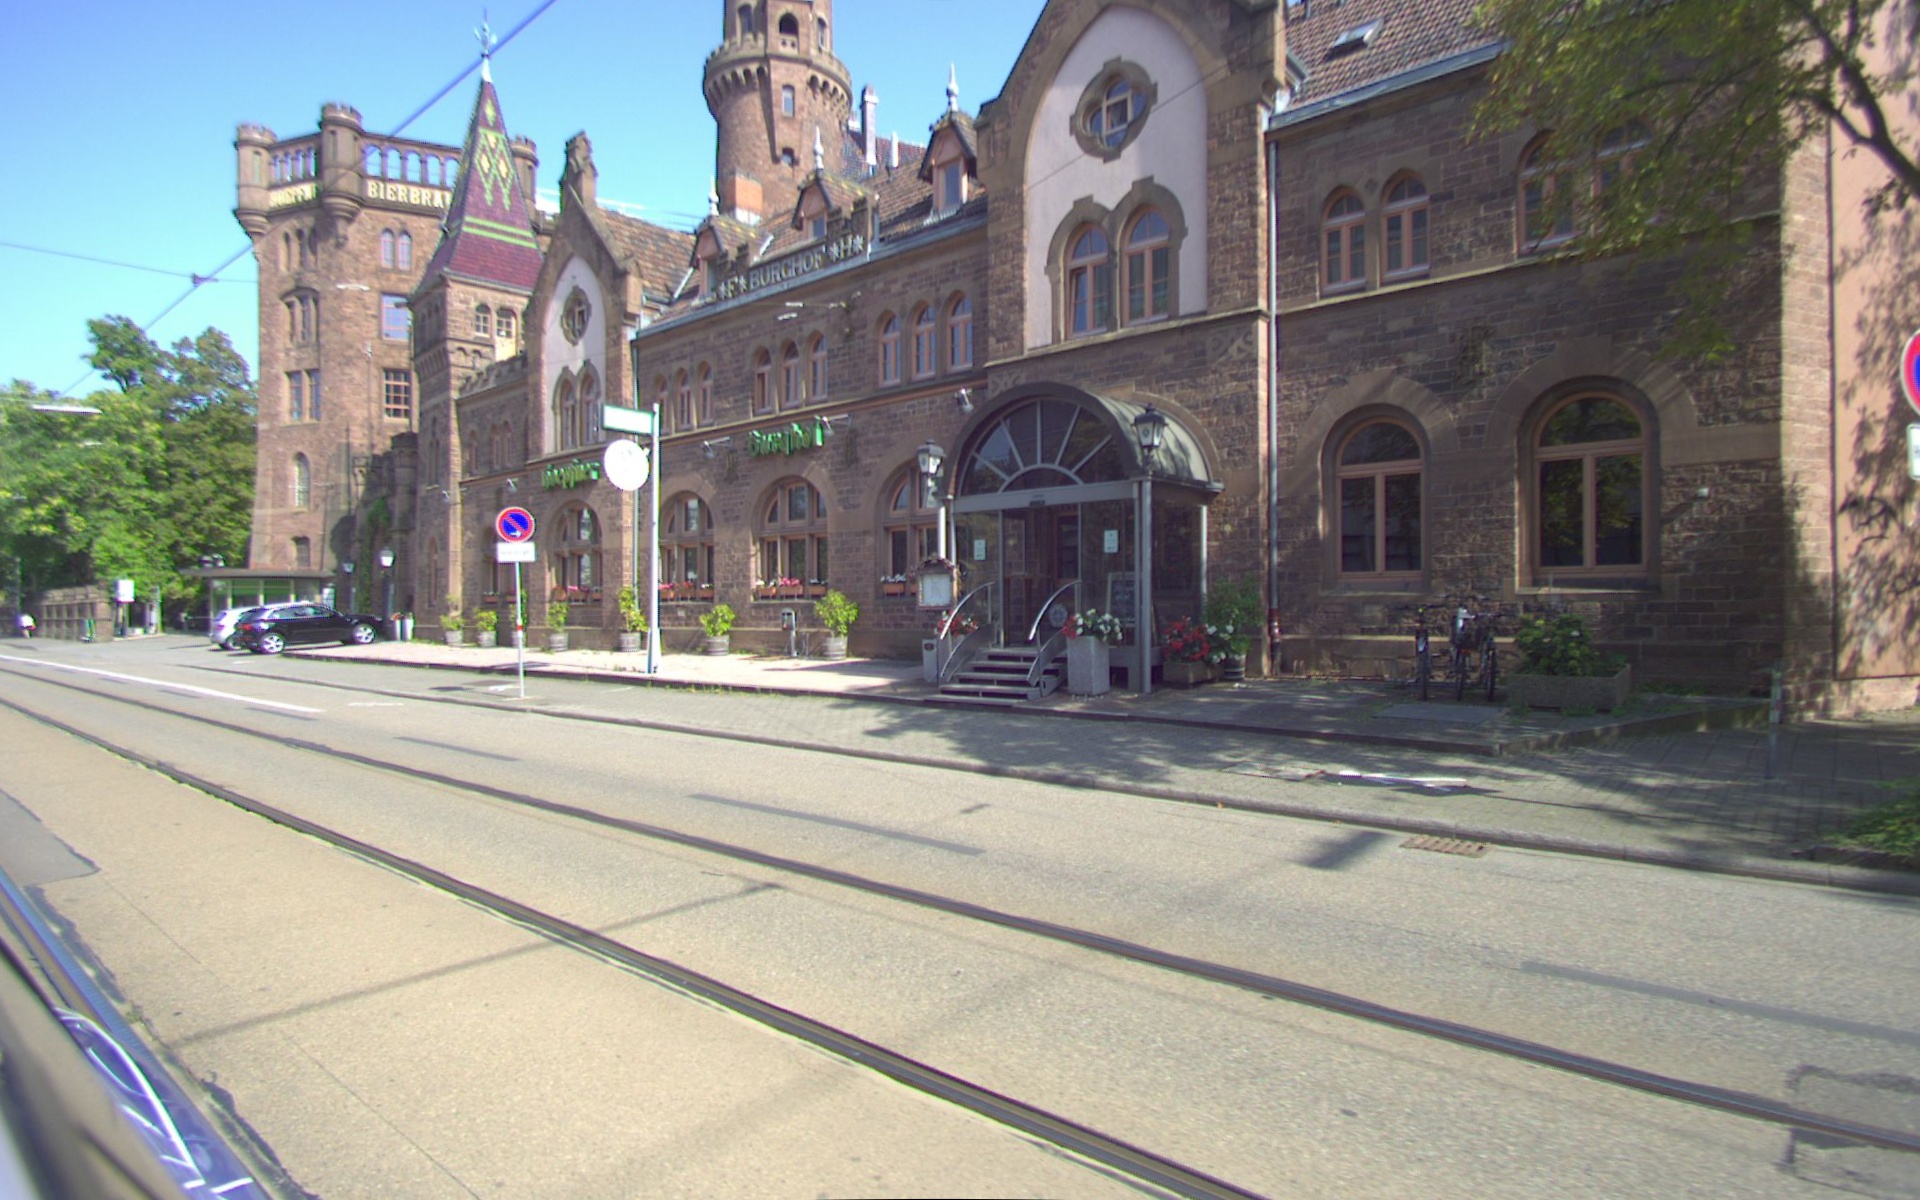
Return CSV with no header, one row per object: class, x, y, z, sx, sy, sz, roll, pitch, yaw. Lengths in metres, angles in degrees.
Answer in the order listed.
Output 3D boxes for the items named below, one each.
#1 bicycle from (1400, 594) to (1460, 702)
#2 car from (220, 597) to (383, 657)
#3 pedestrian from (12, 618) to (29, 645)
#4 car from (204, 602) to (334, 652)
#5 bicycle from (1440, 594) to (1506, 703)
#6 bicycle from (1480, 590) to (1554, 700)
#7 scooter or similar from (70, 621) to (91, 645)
bicycle,5.612,0.535,12.144,0.418,1.082,1.798,-1,4,18
car,-23.028,0.903,35.538,1.956,1.657,4.352,-1,3,41
pedestrian,-57.643,1.913,62.097,0.774,1.601,0.708,-1,-1,40
car,-27.158,1.021,39.854,1.822,1.607,3.858,-1,3,43
bicycle,6.060,0.530,12.011,0.418,1.082,1.798,-1,4,18
bicycle,6.495,0.483,11.857,0.418,1.082,1.798,-1,4,18
scooter or similar,-44.547,1.652,51.251,0.280,1.157,0.816,0,2,4
